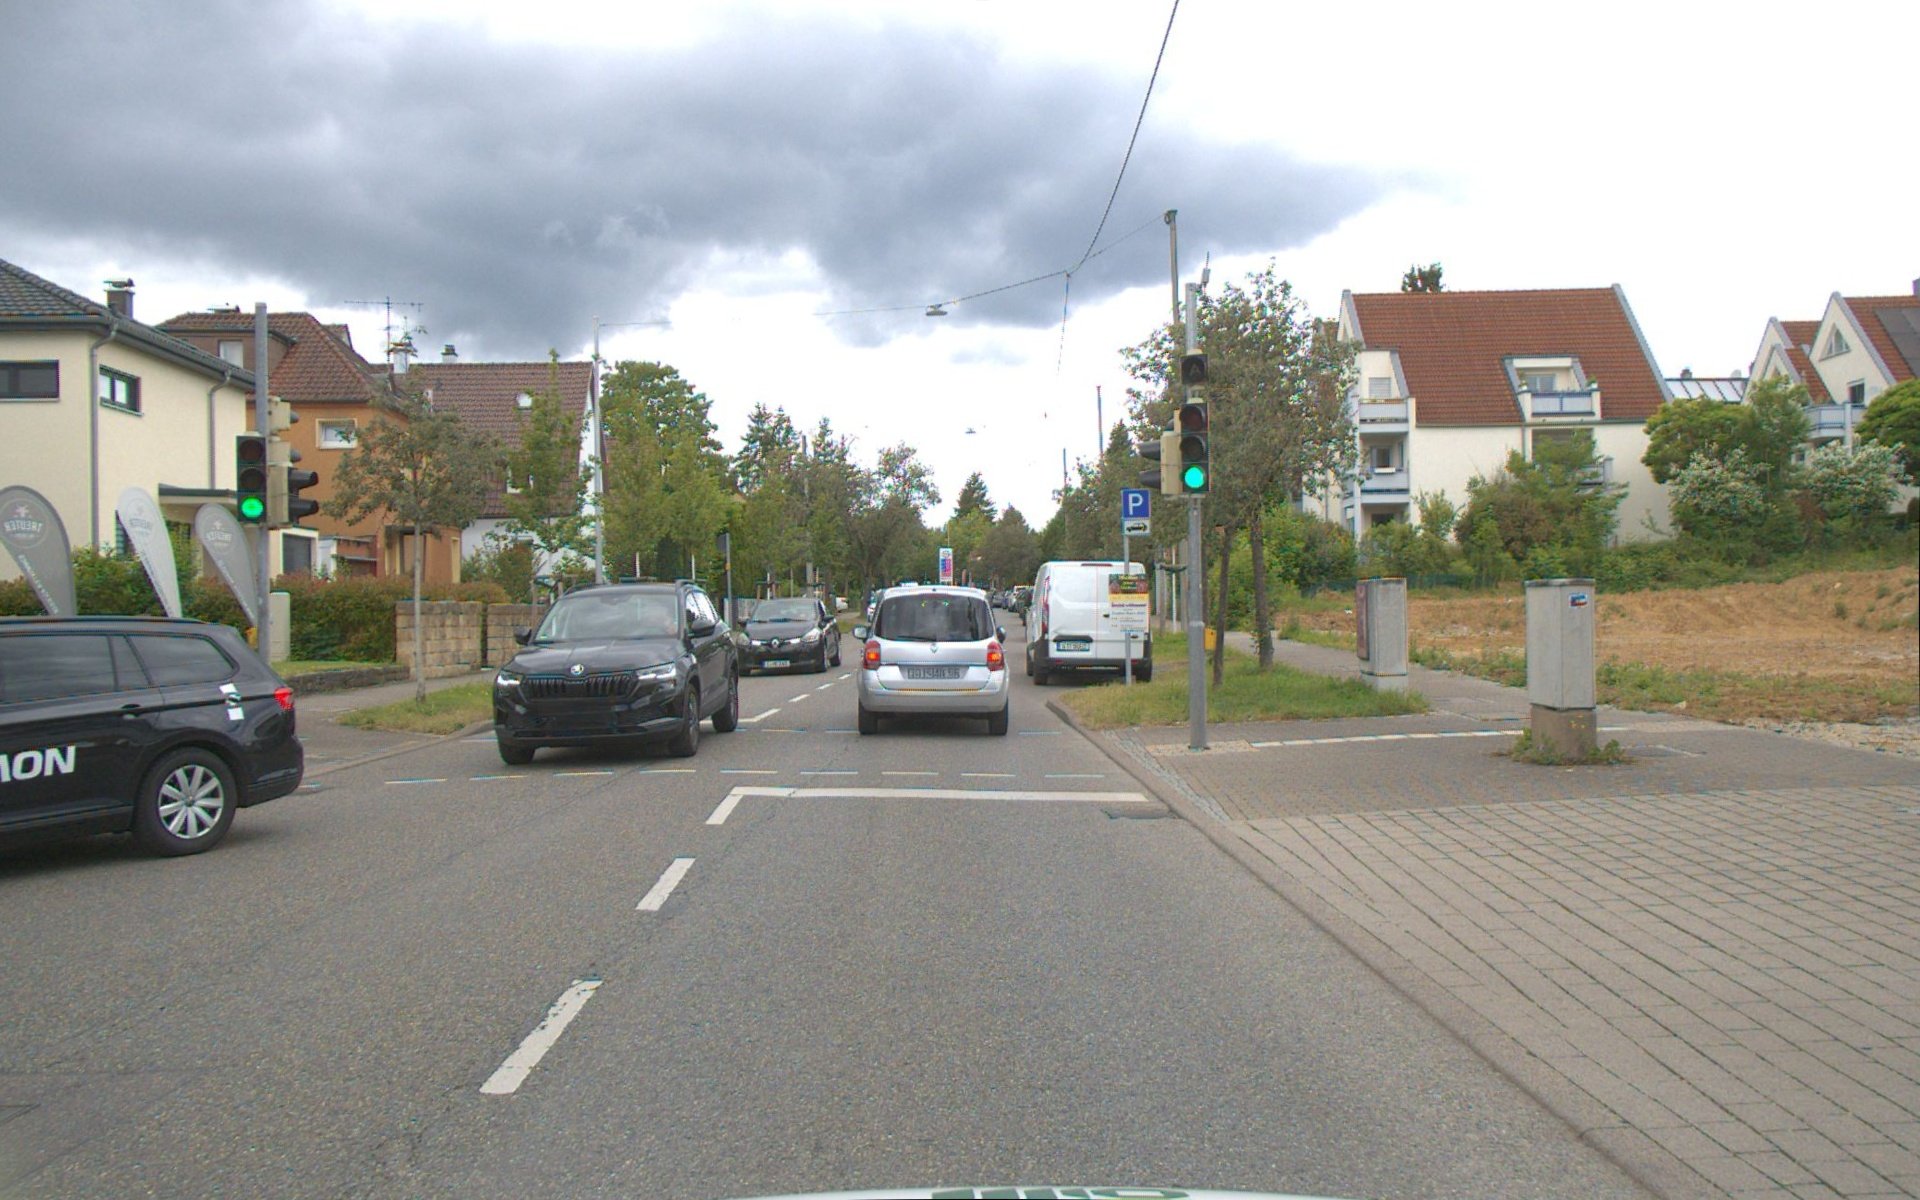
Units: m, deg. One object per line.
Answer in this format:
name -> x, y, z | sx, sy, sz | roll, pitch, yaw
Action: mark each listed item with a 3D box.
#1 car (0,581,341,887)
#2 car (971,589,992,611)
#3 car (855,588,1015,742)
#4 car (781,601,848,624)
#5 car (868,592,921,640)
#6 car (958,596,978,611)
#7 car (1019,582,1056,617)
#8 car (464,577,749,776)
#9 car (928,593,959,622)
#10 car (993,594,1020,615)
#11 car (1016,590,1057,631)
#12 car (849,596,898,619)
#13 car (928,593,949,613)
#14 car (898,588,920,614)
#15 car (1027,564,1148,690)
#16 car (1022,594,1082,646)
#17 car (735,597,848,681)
car -> -6.105, 0.757, 9.388 | 1.957, 1.649, 4.637 | -2, 0, 31
car -> 2.823, 0.003, 218.796 | 2.236, 2.962, 5.274 | 0, 0, -4
car -> -0.212, 0.672, 18.855 | 1.644, 1.587, 3.512 | 0, 0, 1
car -> -9.182, 0.794, 104.436 | 4.195, 1.392, 1.814 | 1, -1, -6
car -> -2.523, 0.603, 64.892 | 1.776, 1.722, 4.466 | -3, 0, 1
car -> 0.839, 0.409, 173.637 | 1.663, 1.532, 3.966 | -1, 0, -7
car -> 4.103, -0.039, 88.099 | 1.792, 1.741, 4.550 | -3, 0, 2
car -> -3.327, 0.662, 16.366 | 1.856, 1.652, 4.000 | -2, 0, 1
car -> -1.055, 0.458, 106.719 | 1.758, 1.782, 4.299 | -2, 0, 2
car -> 3.538, 0.339, 126.801 | 1.595, 1.477, 3.872 | -2, 0, -4
car -> 3.190, 0.431, 69.515 | 1.653, 1.637, 4.110 | 0, 0, 2
car -> -7.440, 0.641, 142.508 | 4.002, 1.735, 1.747 | -3, 0, 1
car -> -2.010, 0.262, 153.594 | 1.799, 1.743, 3.998 | -3, 0, -3
car -> -5.483, 0.114, 178.030 | 2.031, 2.627, 5.300 | -3, 0, 0
car -> 2.104, 0.419, 28.450 | 1.738, 1.977, 4.789 | 0, 0, 0
car -> 2.728, 0.581, 49.697 | 1.658, 1.479, 4.405 | 0, 0, 2
car -> -3.257, 0.720, 32.564 | 1.582, 1.497, 4.001 | -2, 0, 3
